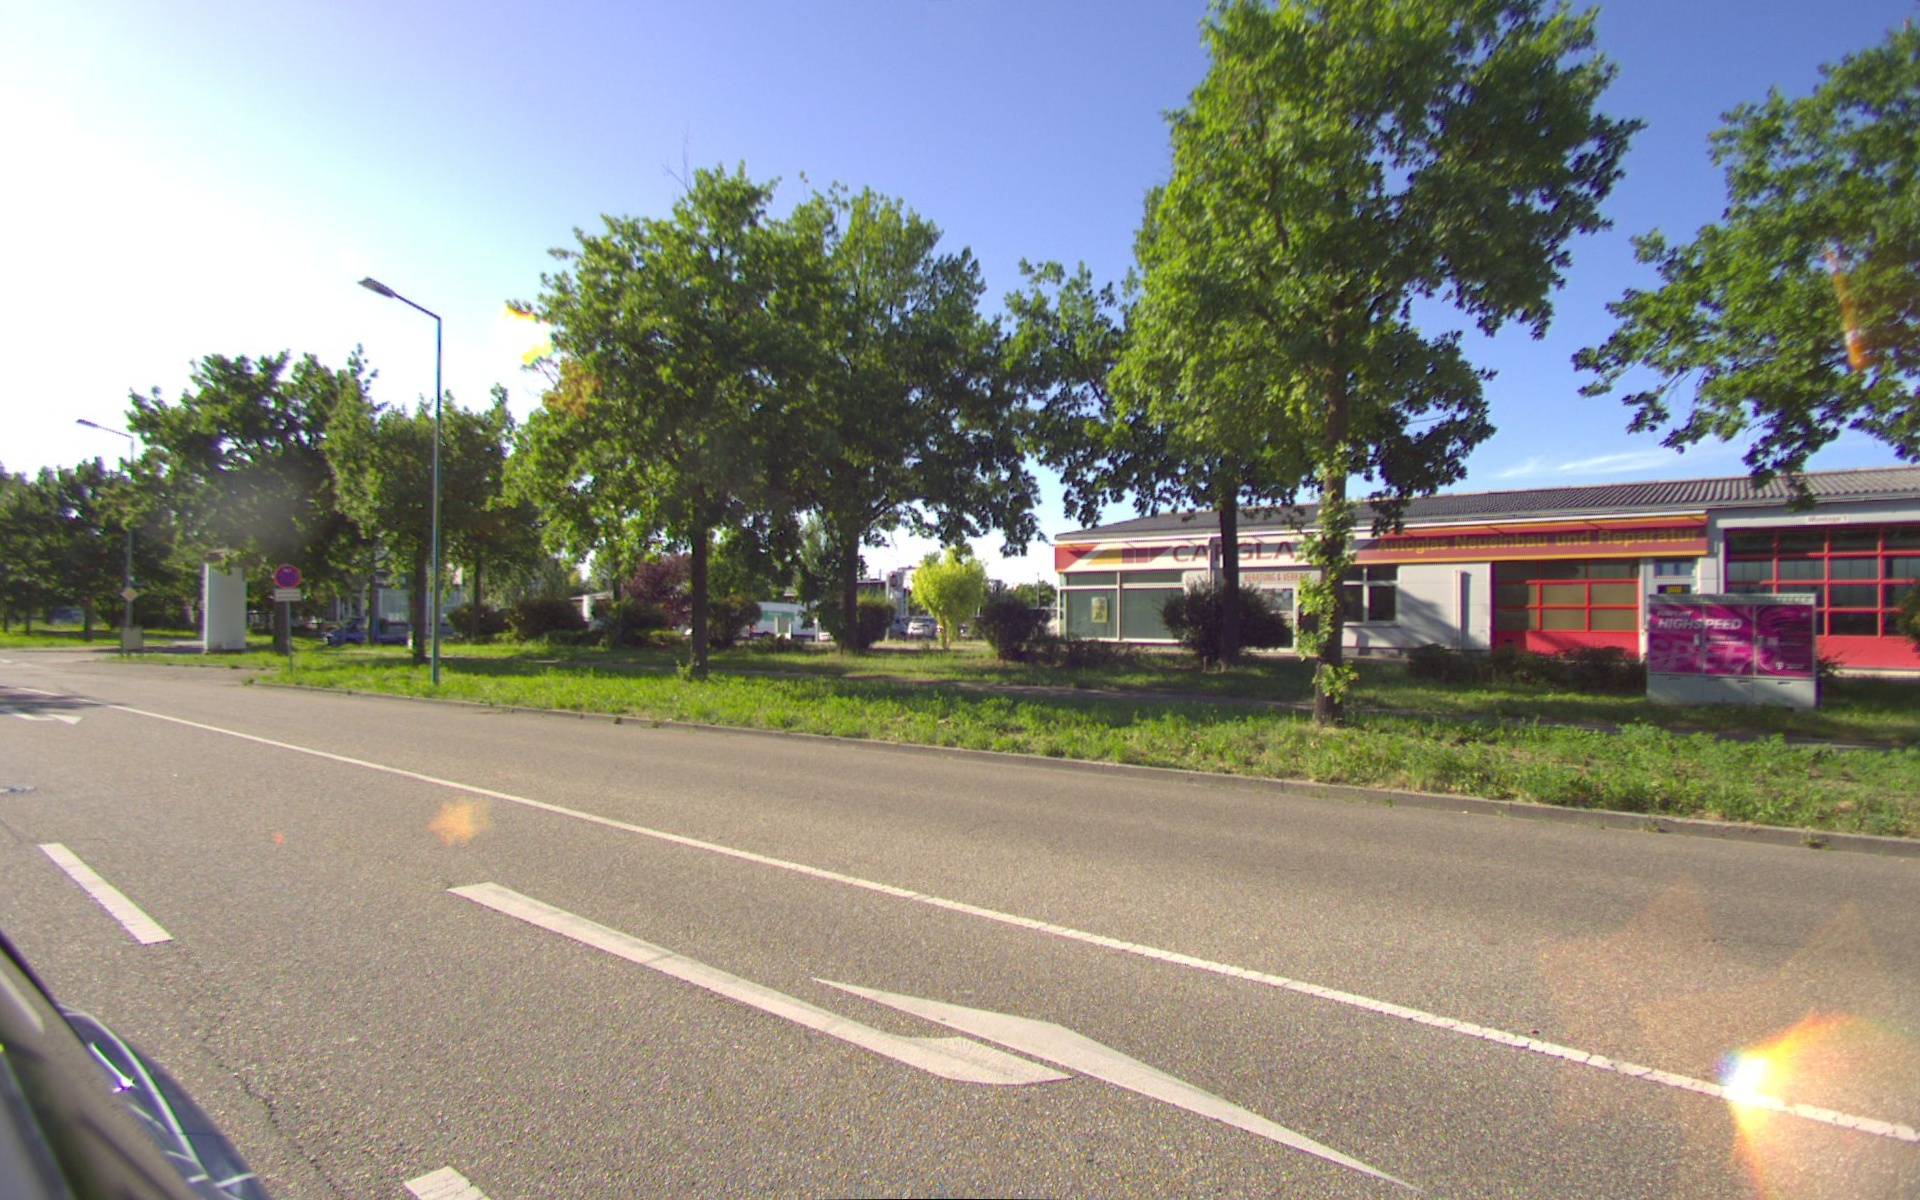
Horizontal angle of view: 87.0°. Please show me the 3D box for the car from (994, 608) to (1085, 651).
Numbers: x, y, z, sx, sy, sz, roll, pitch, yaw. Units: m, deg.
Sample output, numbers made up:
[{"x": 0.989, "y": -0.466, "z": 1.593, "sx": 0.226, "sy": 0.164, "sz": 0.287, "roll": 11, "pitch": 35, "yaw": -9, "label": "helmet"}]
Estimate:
[{"x": 3.218, "y": 1.148, "z": 40.611, "sx": 1.734, "sy": 1.583, "sz": 3.769, "roll": -3, "pitch": -1, "yaw": 40, "label": "car"}]

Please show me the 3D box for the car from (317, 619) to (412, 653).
[{"x": -35.964, "y": 2.147, "z": 61.244, "sx": 1.999, "sy": 1.847, "sz": 4.578, "roll": -1, "pitch": 0, "yaw": 41, "label": "car"}]

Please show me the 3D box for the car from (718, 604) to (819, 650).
[{"x": -11.446, "y": 1.588, "z": 61.008, "sx": 2.406, "sy": 2.574, "sz": 5.952, "roll": -1, "pitch": 0, "yaw": 36, "label": "car"}]

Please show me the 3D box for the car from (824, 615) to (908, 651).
[{"x": -5.139, "y": 1.758, "z": 55.796, "sx": 1.989, "sy": 1.795, "sz": 4.583, "roll": -1, "pitch": 0, "yaw": 40, "label": "car"}]

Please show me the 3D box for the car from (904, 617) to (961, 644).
[{"x": -1.864, "y": 2.040, "z": 68.630, "sx": 1.761, "sy": 1.684, "sz": 3.811, "roll": -1, "pitch": 0, "yaw": 40, "label": "car"}]
